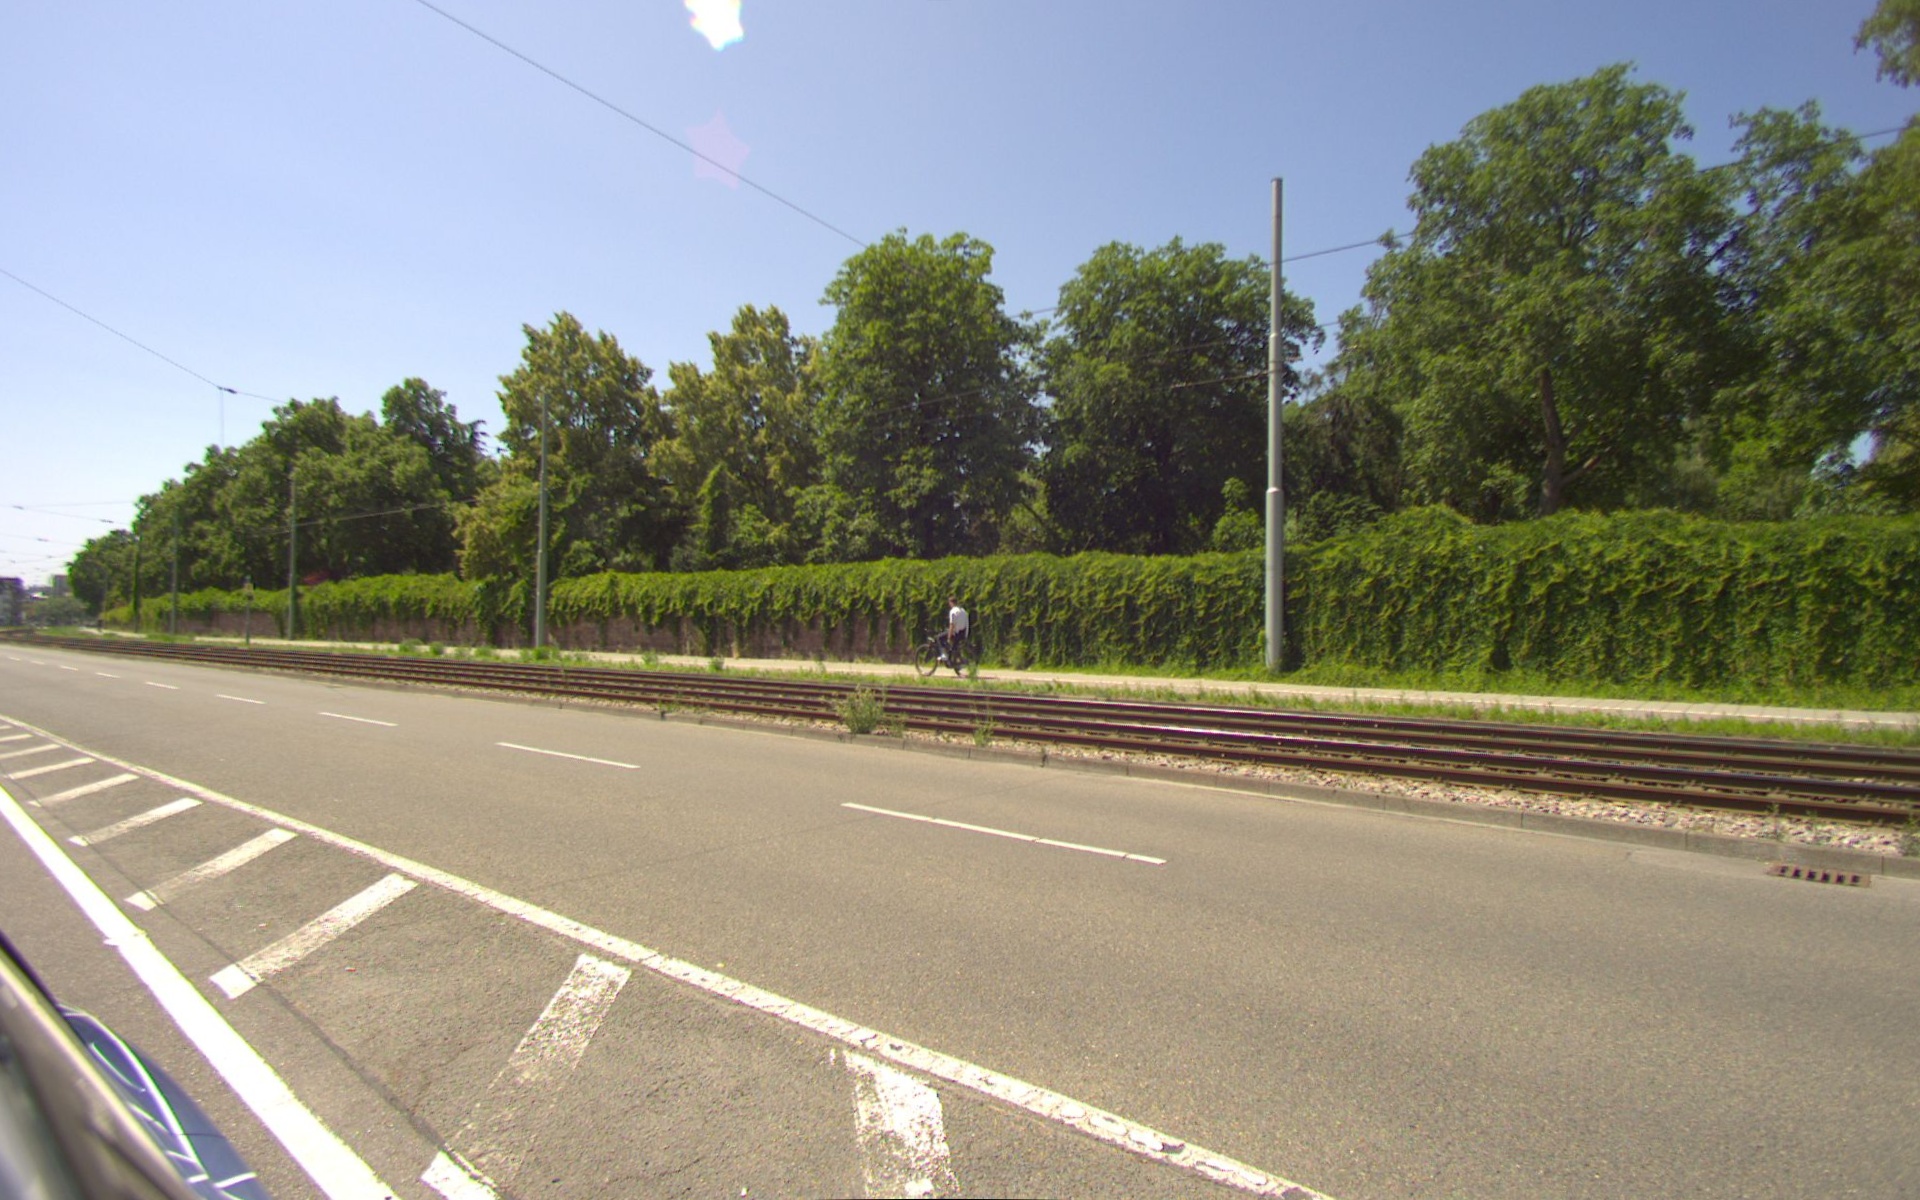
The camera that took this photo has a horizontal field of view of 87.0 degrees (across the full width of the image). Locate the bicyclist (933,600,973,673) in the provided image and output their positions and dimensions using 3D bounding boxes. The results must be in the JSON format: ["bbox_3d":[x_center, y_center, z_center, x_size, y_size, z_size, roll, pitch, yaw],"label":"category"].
[{"bbox_3d":[-0.167,0.826,23.210,0.768,1.624,0.477,-1,0,41],"label":"bicyclist"}]

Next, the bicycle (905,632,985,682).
[{"bbox_3d":[-0.365,1.303,23.414,1.977,1.063,0.609,-1,0,42],"label":"bicycle"}]

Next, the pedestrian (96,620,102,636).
[{"bbox_3d":[-91.147,2.913,107.164,0.302,1.677,0.447,-2,-1,41],"label":"pedestrian"}]
